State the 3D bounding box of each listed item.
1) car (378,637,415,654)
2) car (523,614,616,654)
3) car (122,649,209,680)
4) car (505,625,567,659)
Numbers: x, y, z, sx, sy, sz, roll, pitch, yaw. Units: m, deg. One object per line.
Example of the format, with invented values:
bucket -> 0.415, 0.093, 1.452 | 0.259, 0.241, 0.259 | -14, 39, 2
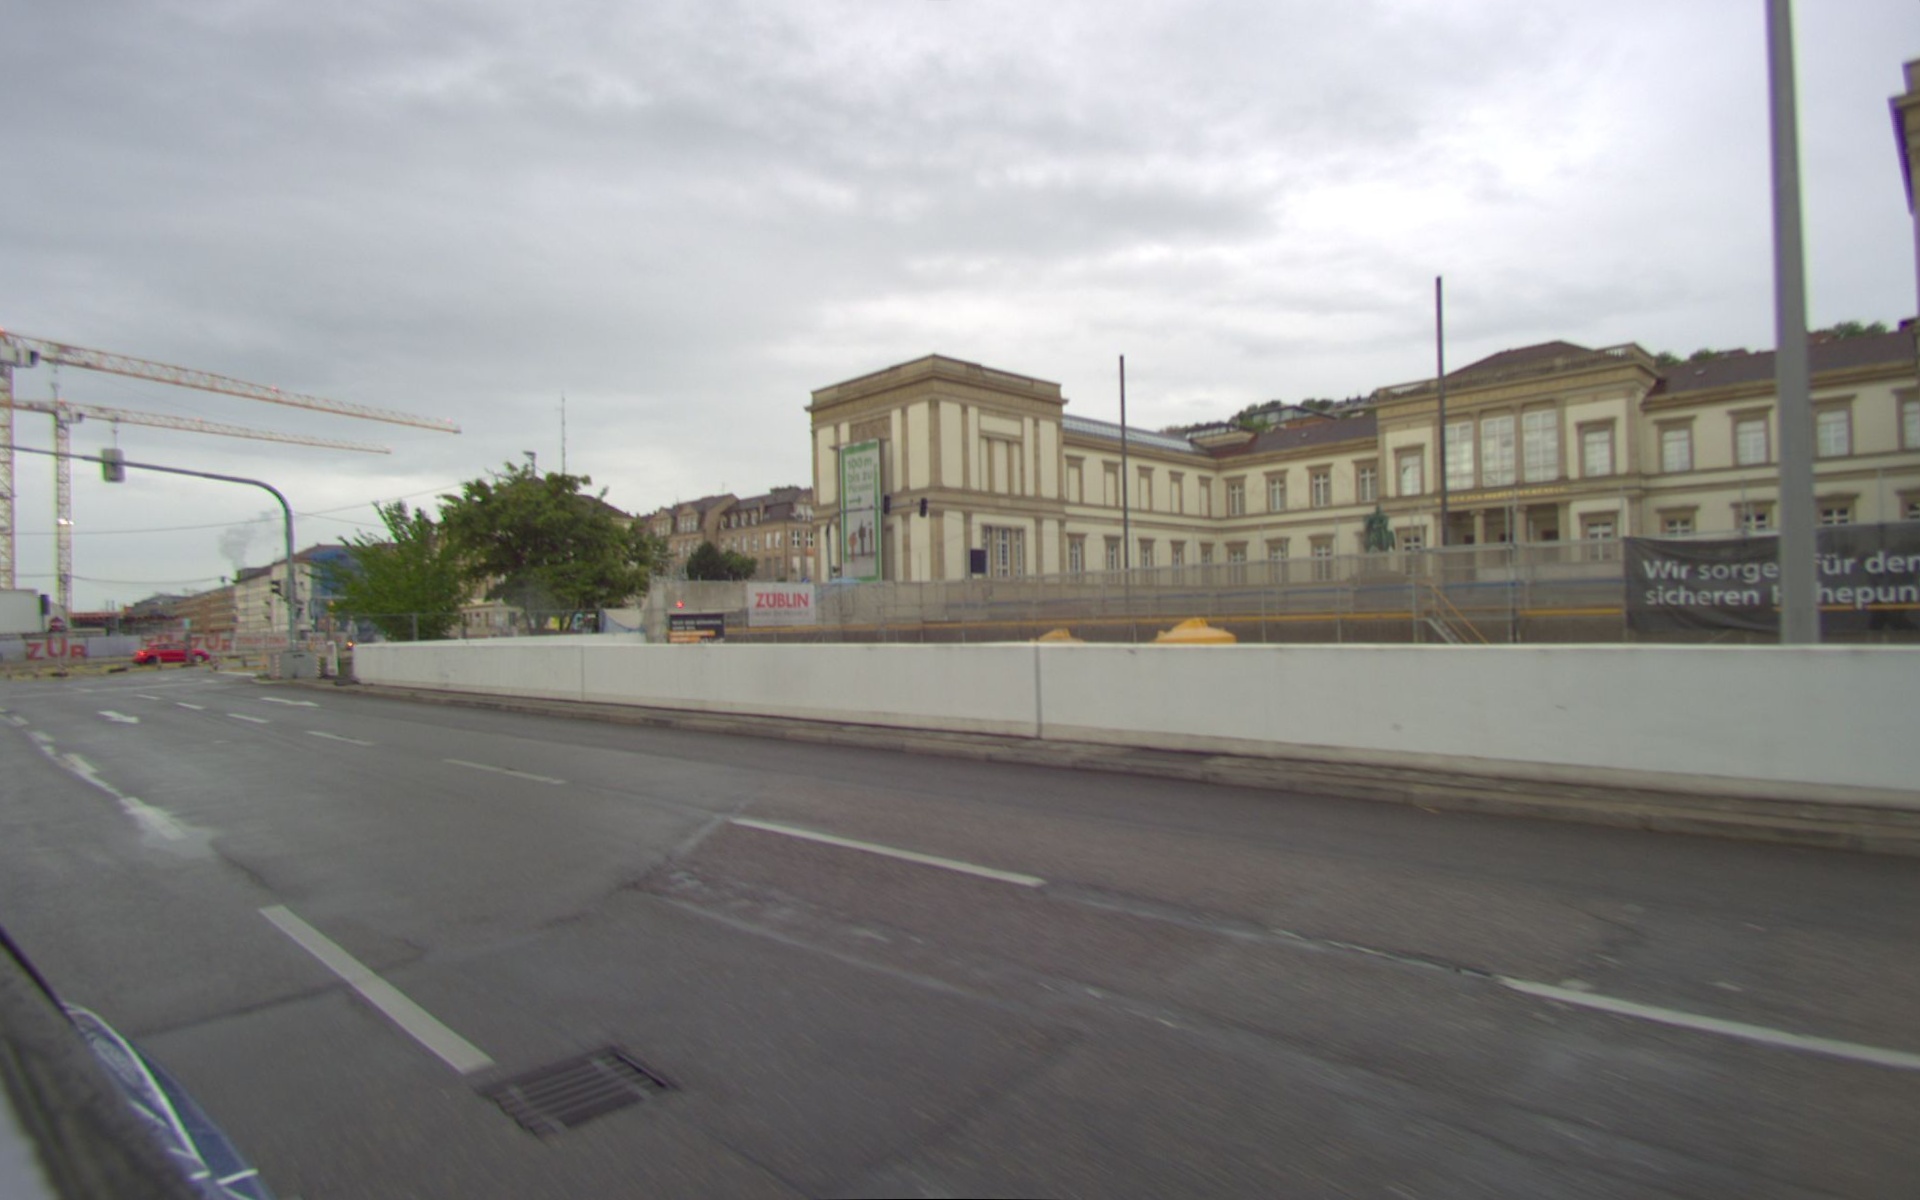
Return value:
car -> -66.262, 5.330, 119.041 | 4.673, 1.852, 1.976 | -2, 0, 35
car -> -24.033, 2.108, 62.226 | 5.661, 2.190, 2.347 | -2, 1, 31
car -> -49.993, 4.026, 63.727 | 1.688, 1.563, 3.951 | -3, 0, 36
car -> -27.875, 2.733, 66.458 | 4.641, 2.028, 1.972 | -2, 1, 43
